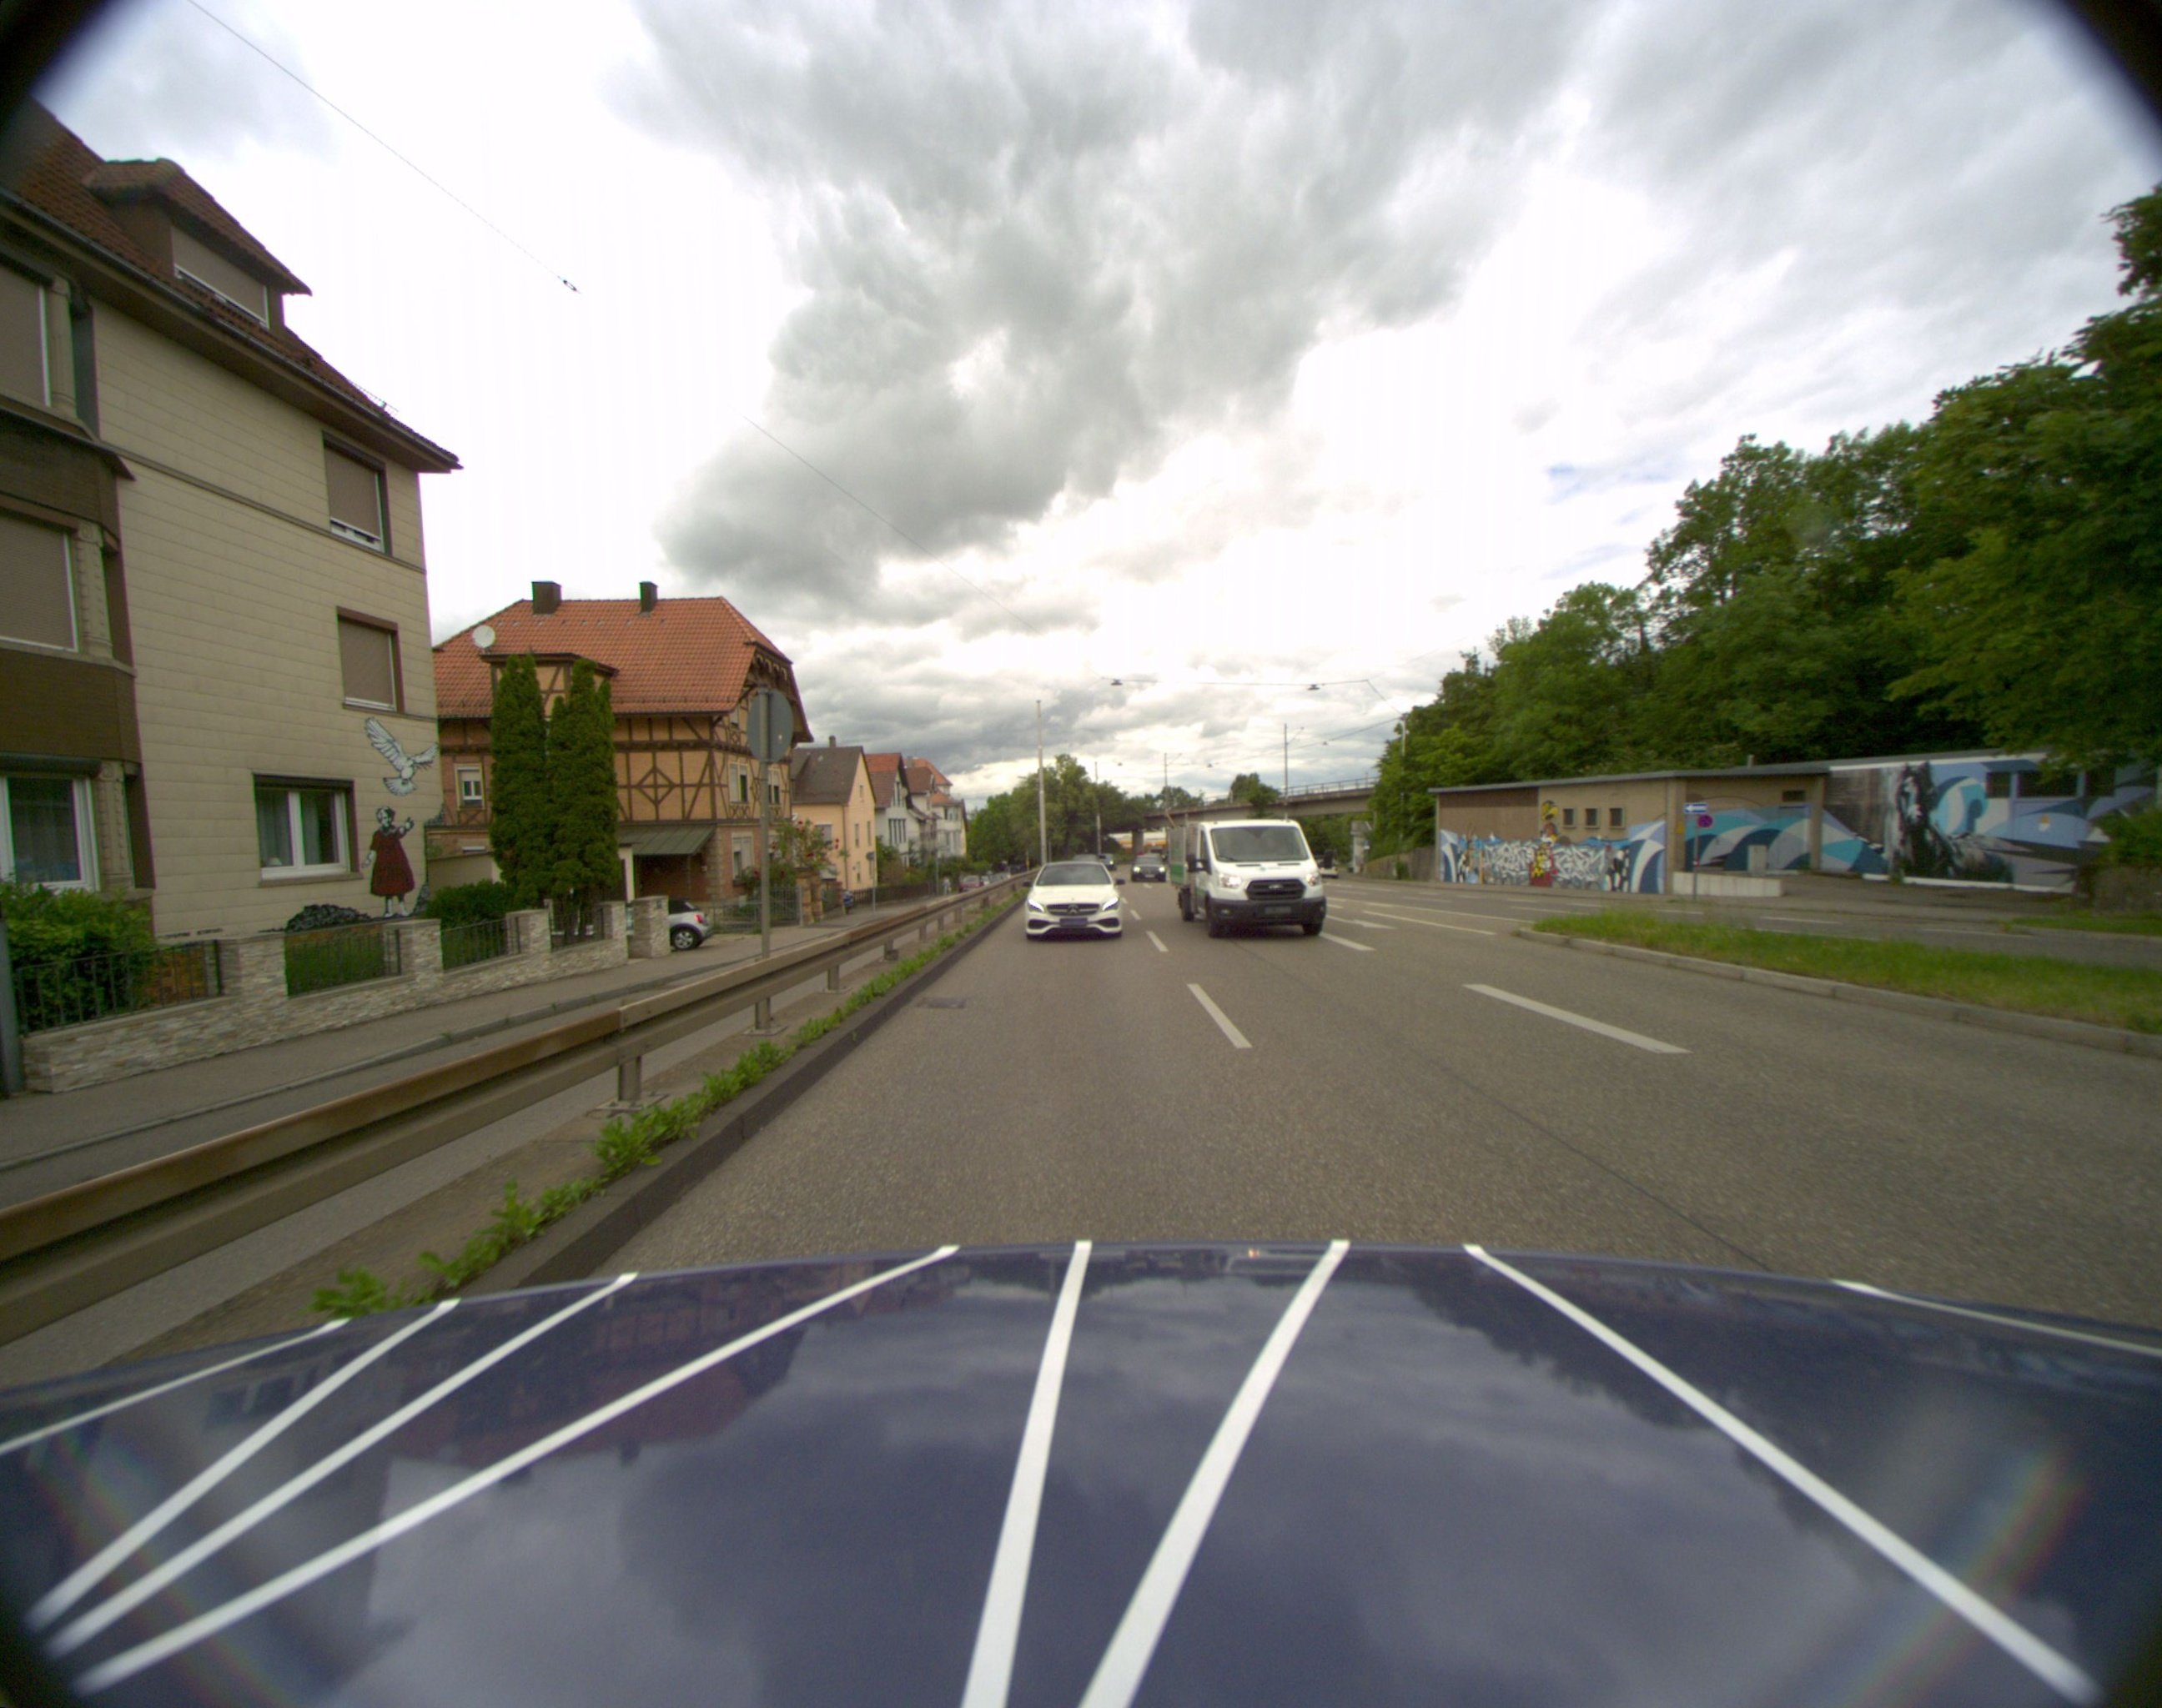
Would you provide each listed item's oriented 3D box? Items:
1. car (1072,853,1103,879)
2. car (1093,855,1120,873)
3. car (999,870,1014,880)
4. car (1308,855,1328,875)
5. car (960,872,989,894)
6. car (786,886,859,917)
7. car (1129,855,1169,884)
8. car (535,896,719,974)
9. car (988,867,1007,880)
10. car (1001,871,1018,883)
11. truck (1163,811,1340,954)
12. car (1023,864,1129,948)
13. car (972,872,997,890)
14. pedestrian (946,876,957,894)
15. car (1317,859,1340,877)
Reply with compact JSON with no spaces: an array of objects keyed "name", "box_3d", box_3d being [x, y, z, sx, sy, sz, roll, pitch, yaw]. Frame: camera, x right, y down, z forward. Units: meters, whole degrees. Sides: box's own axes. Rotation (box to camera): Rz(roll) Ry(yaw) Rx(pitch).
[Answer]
[{"name":"car","box_3d":[0.456,0.736,47.884,1.777,1.532,4.001,-3,0,2]},{"name":"car","box_3d":[2.253,0.843,66.232,1.776,1.390,4.003,-3,0,10]},{"name":"car","box_3d":[-10.875,3.047,111.232,1.851,1.354,3.999,-3,0,-2]},{"name":"car","box_3d":[22.304,1.013,71.563,1.634,1.793,4.005,-3,0,16]},{"name":"car","box_3d":[-8.893,2.360,63.614,1.923,1.641,3.999,-3,0,-2]},{"name":"car","box_3d":[-15.231,2.772,44.899,3.797,1.554,1.546,-3,0,-6]},{"name":"car","box_3d":[3.800,0.838,43.043,1.915,1.472,4.401,-3,0,1]},{"name":"car","box_3d":[-11.833,2.074,20.090,3.800,1.396,1.544,-7,1,-19]},{"name":"car","box_3d":[-9.778,2.320,89.339,1.851,1.354,3.999,-2,0,-2]},{"name":"car","box_3d":[-9.248,2.990,98.608,1.851,1.354,3.999,-3,0,-2]},{"name":"truck","box_3d":[3.177,0.439,15.741,2.081,2.308,6.330,-1,1,-1]},{"name":"car","box_3d":[-0.093,0.937,15.202,1.817,1.390,4.000,-1,0,0]},{"name":"car","box_3d":[-9.286,2.575,73.198,1.923,1.490,3.999,-3,0,-2]},{"name":"pedestrian","box_3d":[-10.393,2.485,61.000,0.713,1.462,0.695,-3,0,-2]},{"name":"car","box_3d":[21.274,1.155,65.341,1.634,1.411,4.005,-3,0,16]}]
